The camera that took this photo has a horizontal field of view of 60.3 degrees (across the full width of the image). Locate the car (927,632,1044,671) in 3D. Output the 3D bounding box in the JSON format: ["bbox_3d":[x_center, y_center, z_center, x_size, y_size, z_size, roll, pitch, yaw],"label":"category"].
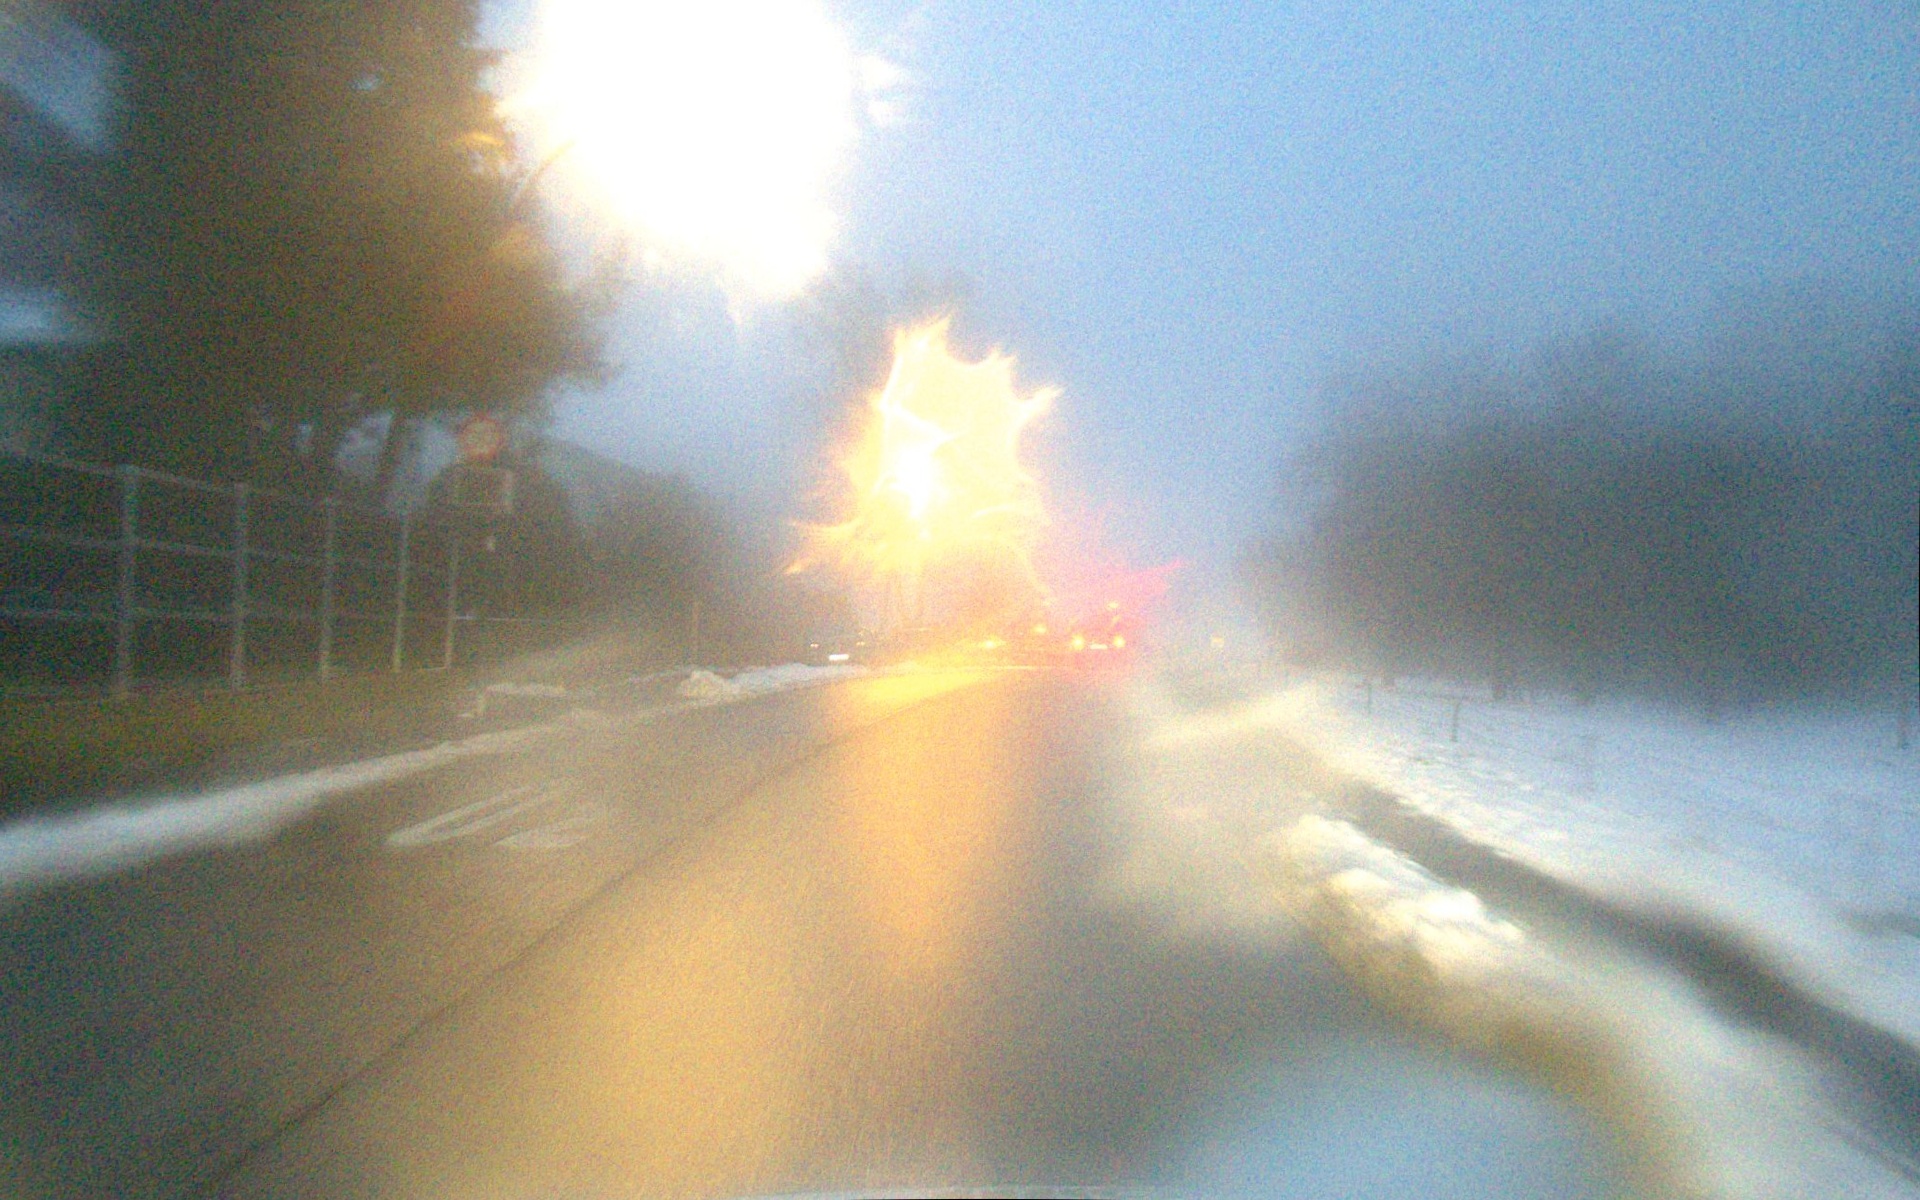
[{"bbox_3d":[1.126,2.260,72.294,4.783,1.511,2.125,-3,-3,10],"label":"car"}]

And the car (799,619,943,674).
[{"bbox_3d":[-2.832,1.515,53.536,4.433,1.594,2.111,-2,-2,2],"label":"car"}]

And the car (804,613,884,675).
[{"bbox_3d":[-3.404,1.320,47.787,1.956,1.594,4.988,-3,-2,-7],"label":"car"}]

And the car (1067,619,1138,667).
[{"bbox_3d":[4.566,1.353,52.483,1.951,1.445,4.003,0,-1,9],"label":"car"}]
